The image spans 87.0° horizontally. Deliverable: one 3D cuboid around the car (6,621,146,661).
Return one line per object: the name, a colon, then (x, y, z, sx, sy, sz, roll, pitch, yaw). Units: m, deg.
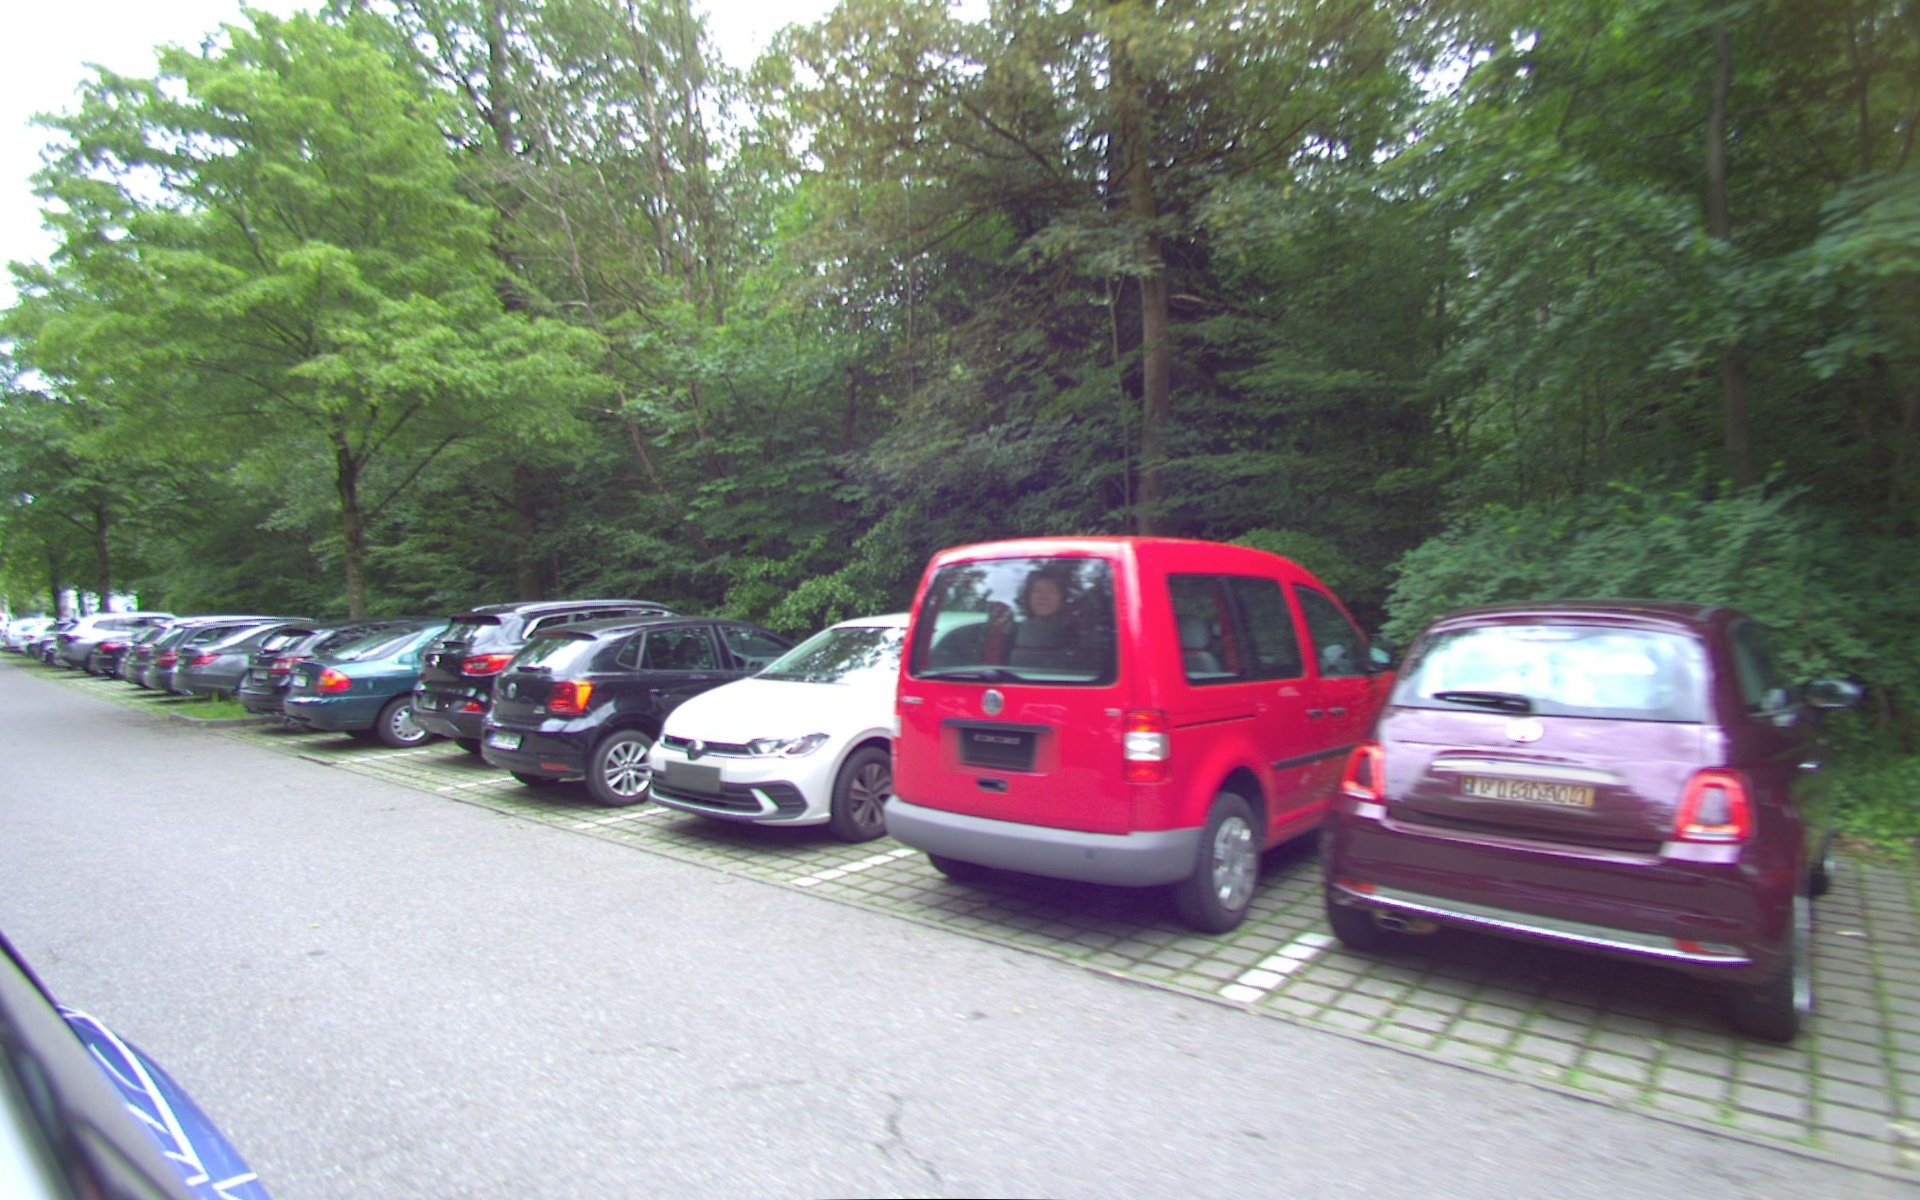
car: (-35.229, 1.594, 40.404, 1.711, 1.489, 3.949, -1, -2, 38)

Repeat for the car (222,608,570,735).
car: (-7.837, 0.897, 14.364, 1.739, 1.453, 3.949, -1, 0, 38)

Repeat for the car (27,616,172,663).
car: (-32.879, 1.481, 38.761, 1.711, 1.684, 3.949, -1, -2, 38)

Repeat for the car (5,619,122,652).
car: (-42.848, 1.685, 48.435, 1.711, 1.489, 3.949, -1, -2, 38)

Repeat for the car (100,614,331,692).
car: (-16.968, 1.142, 23.238, 1.710, 1.528, 3.952, -1, 0, 36)

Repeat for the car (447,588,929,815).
car: (-2.281, 0.738, 9.237, 1.741, 1.609, 3.943, -2, -1, 43)

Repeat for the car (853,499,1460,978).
car: (1.430, 0.551, 5.975, 1.817, 1.828, 3.946, -2, -1, 40)

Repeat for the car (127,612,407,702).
car: (-13.291, 1.022, 19.623, 1.817, 1.549, 4.167, -1, -2, 41)

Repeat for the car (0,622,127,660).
car: (-37.077, 1.655, 41.744, 1.711, 1.489, 3.949, -1, -2, 38)

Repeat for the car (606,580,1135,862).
car: (-0.474, 0.713, 7.843, 1.741, 1.609, 3.943, -2, -1, 43)

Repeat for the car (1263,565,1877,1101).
car: (3.209, 0.686, 4.994, 1.817, 1.527, 3.945, -2, -1, 41)

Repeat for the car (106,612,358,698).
car: (-15.128, 1.078, 21.218, 1.710, 1.528, 3.952, -1, 0, 36)

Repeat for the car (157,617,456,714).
car: (-11.420, 1.064, 17.882, 1.819, 1.467, 4.163, -2, -1, 45)

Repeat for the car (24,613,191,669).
car: (-28.016, 1.309, 33.374, 1.711, 1.722, 3.949, -1, -2, 38)

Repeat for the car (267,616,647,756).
car: (-6.170, 0.947, 12.726, 1.742, 1.432, 3.943, -2, -1, 43)

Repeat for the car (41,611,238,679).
car: (-22.584, 1.183, 27.983, 1.711, 1.740, 3.949, -1, -2, 38)

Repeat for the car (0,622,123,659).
car: (-38.422, 1.702, 43.123, 1.711, 1.489, 3.949, -1, -2, 38)

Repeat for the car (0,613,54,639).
car: (-56.119, 1.553, 59.563, 3.932, 1.431, 1.787, -1, 0, -33)

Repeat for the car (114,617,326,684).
car: (-18.373, 1.207, 25.299, 1.710, 1.528, 3.951, -1, -2, 36)

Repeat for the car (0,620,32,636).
car: (-85.332, 2.510, 91.031, 1.743, 1.325, 3.902, -1, 0, -27)

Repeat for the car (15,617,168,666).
car: (-31.530, 1.458, 36.832, 1.711, 1.684, 3.949, -1, -2, 38)

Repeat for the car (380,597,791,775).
car: (-3.974, 0.801, 11.236, 1.740, 1.609, 3.946, -2, -1, 40)

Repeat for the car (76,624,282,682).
car: (-20.388, 1.322, 26.567, 1.710, 1.381, 3.951, -1, -2, 36)

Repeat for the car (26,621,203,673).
car: (-26.166, 1.398, 31.430, 1.711, 1.500, 3.949, -1, -2, 38)
